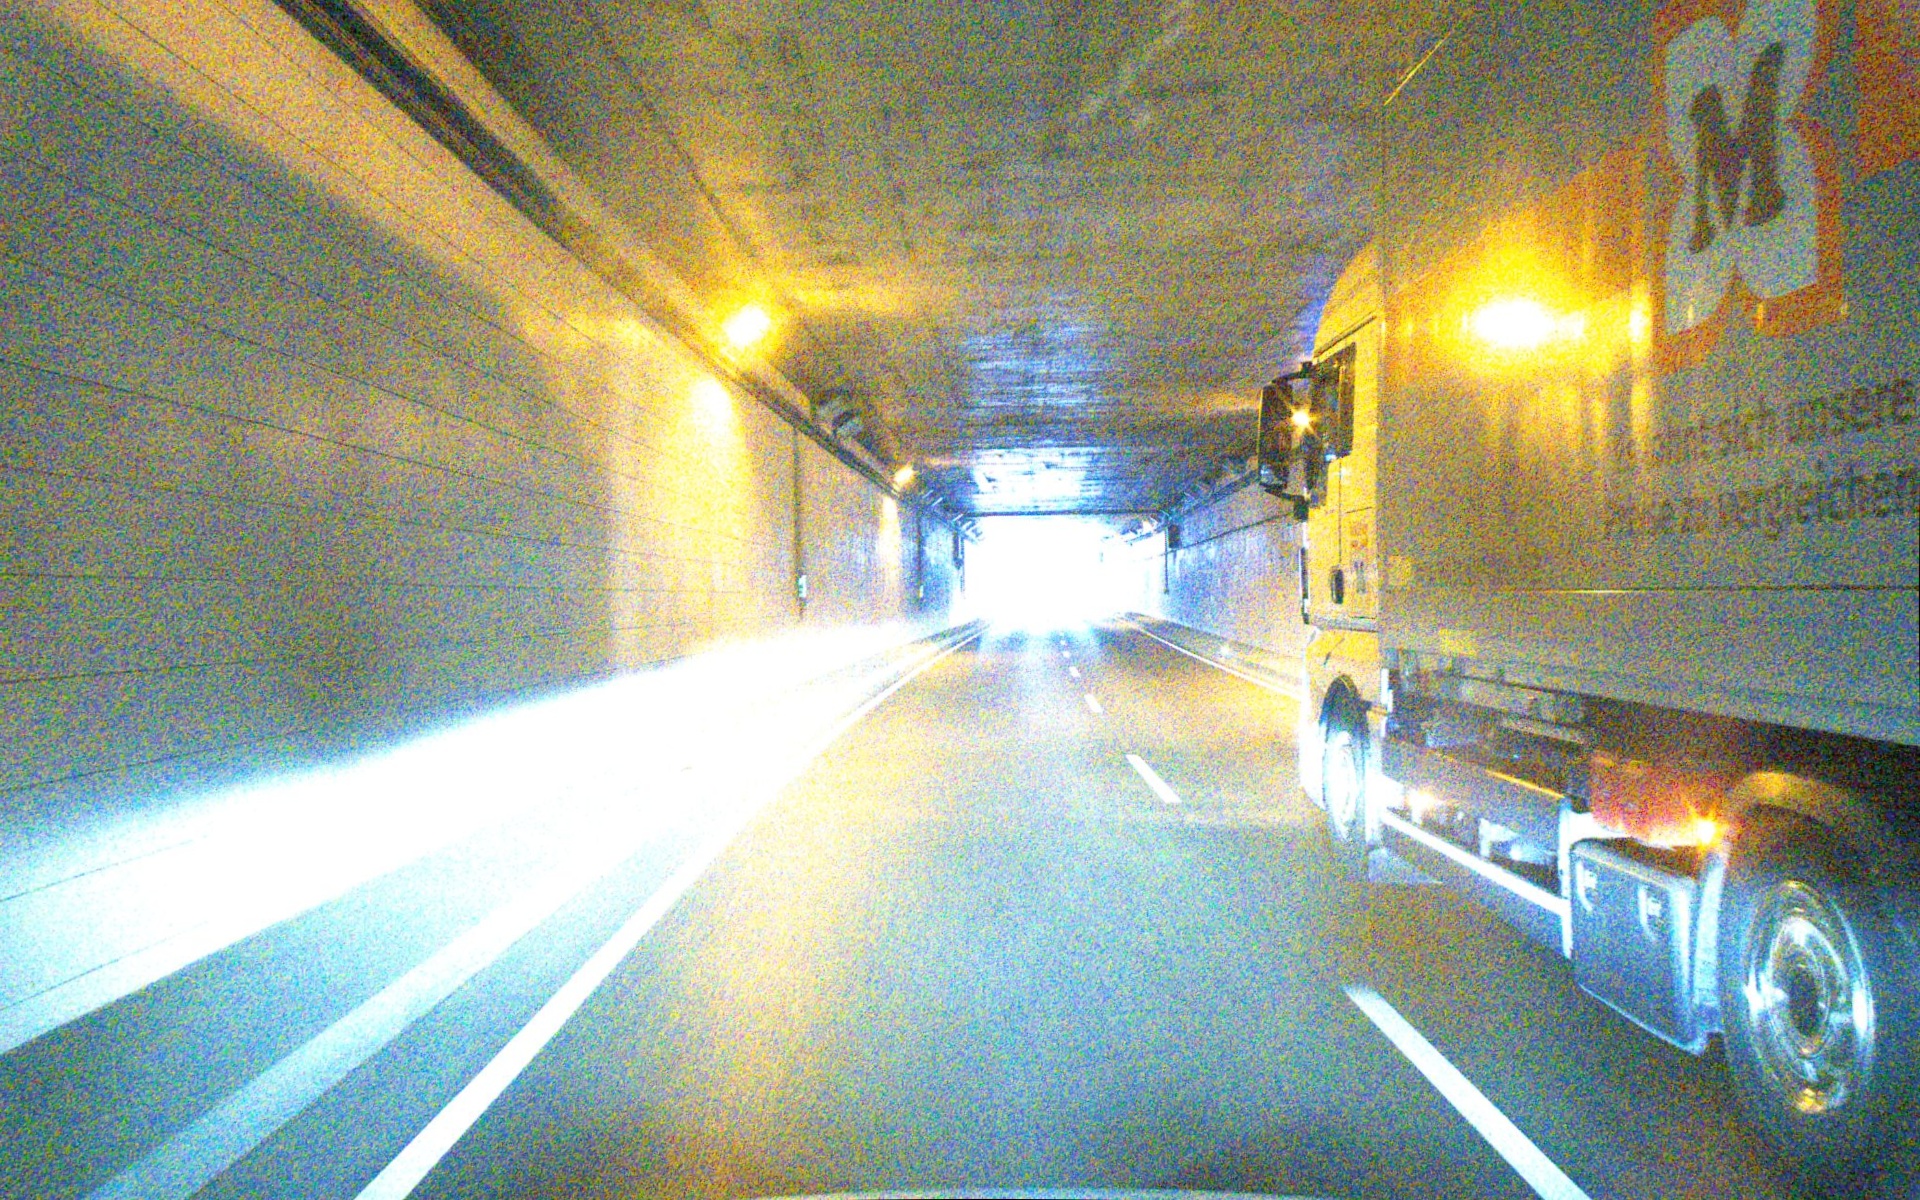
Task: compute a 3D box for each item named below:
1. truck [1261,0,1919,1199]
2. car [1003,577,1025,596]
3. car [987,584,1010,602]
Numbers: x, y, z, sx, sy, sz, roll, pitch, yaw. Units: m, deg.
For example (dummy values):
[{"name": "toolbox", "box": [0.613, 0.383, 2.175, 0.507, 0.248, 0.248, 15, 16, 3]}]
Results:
[{"name": "truck", "box": [3.397, -0.588, 5.416, 2.830, 3.982, 9.907, -1, 0, -1]}, {"name": "car", "box": [5.039, -1.261, 154.846, 1.831, 1.763, 3.999, -1, 0, -1]}, {"name": "car", "box": [3.210, -0.553, 138.752, 1.804, 1.413, 3.999, -1, 0, -1]}]
